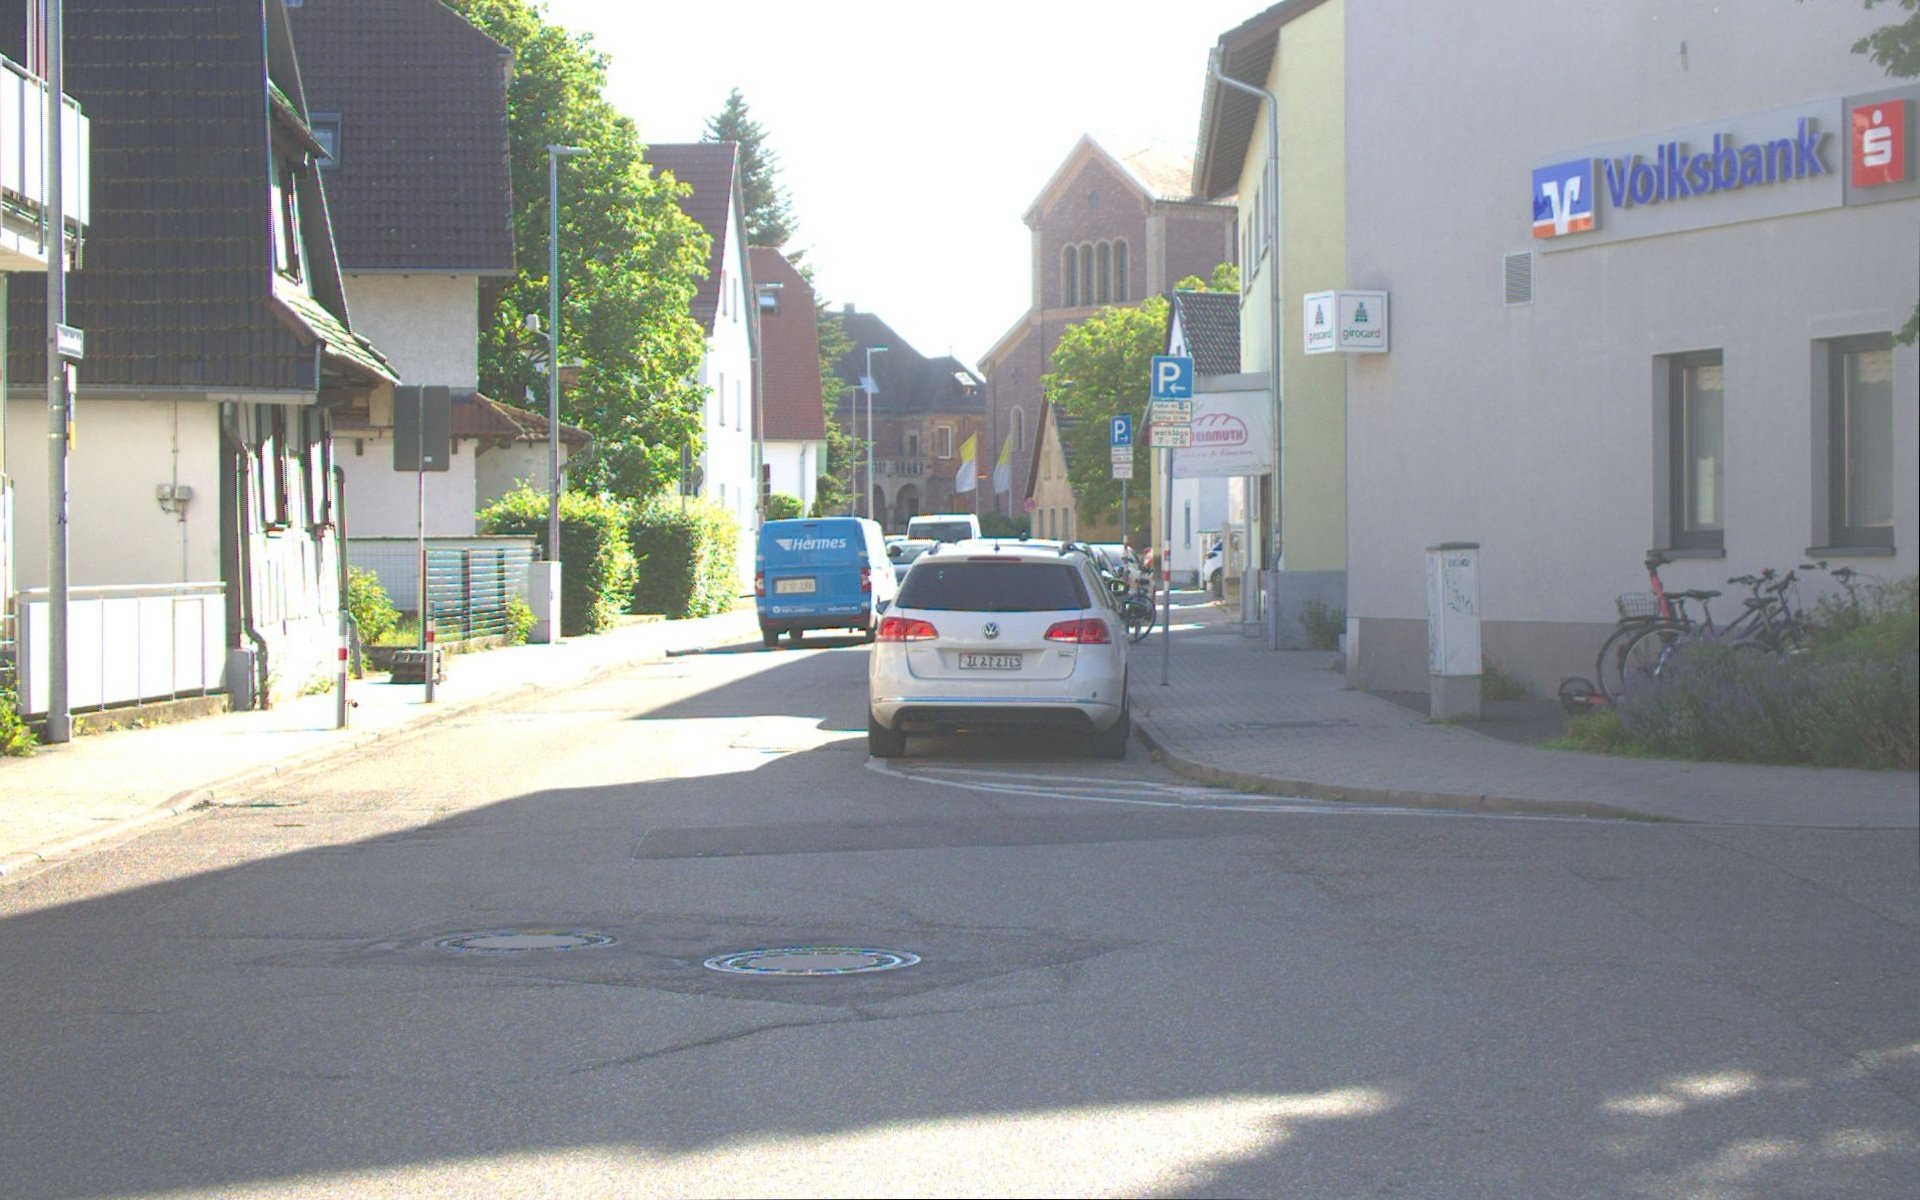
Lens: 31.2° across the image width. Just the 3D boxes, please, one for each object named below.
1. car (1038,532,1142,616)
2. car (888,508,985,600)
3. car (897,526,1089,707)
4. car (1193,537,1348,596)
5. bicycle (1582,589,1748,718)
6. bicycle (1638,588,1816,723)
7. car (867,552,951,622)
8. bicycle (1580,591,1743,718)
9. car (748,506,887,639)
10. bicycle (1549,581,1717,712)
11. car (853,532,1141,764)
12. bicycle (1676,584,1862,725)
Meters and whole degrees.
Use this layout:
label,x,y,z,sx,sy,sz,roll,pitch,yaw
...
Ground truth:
label,x,y,z,sx,sy,sz,roll,pitch,yaw
car,2.358,-0.504,62.631,1.811,1.470,4.659,0,1,2
car,-0.614,-1.303,95.089,2.197,2.381,6.064,-2,1,3
car,0.286,0.102,31.228,1.610,1.515,3.971,1,1,0
car,8.338,-0.904,92.212,3.914,1.487,1.846,-1,1,12
bicycle,5.128,0.389,25.042,1.163,0.917,0.313,-1,1,9
bicycle,5.340,0.384,23.954,1.162,0.917,0.313,-1,1,-1
car,-1.201,-0.337,83.199,1.715,1.593,3.925,-1,1,3
bicycle,5.193,0.402,25.474,1.163,0.917,0.313,-1,1,9
car,-2.157,-0.450,53.294,1.902,1.911,5.070,-2,1,0
bicycle,5.104,0.354,26.070,1.223,0.972,0.320,-1,1,15
car,0.359,0.274,24.999,1.846,1.508,4.506,0,1,4
bicycle,5.431,0.363,23.104,1.162,0.917,0.313,-1,1,-1
